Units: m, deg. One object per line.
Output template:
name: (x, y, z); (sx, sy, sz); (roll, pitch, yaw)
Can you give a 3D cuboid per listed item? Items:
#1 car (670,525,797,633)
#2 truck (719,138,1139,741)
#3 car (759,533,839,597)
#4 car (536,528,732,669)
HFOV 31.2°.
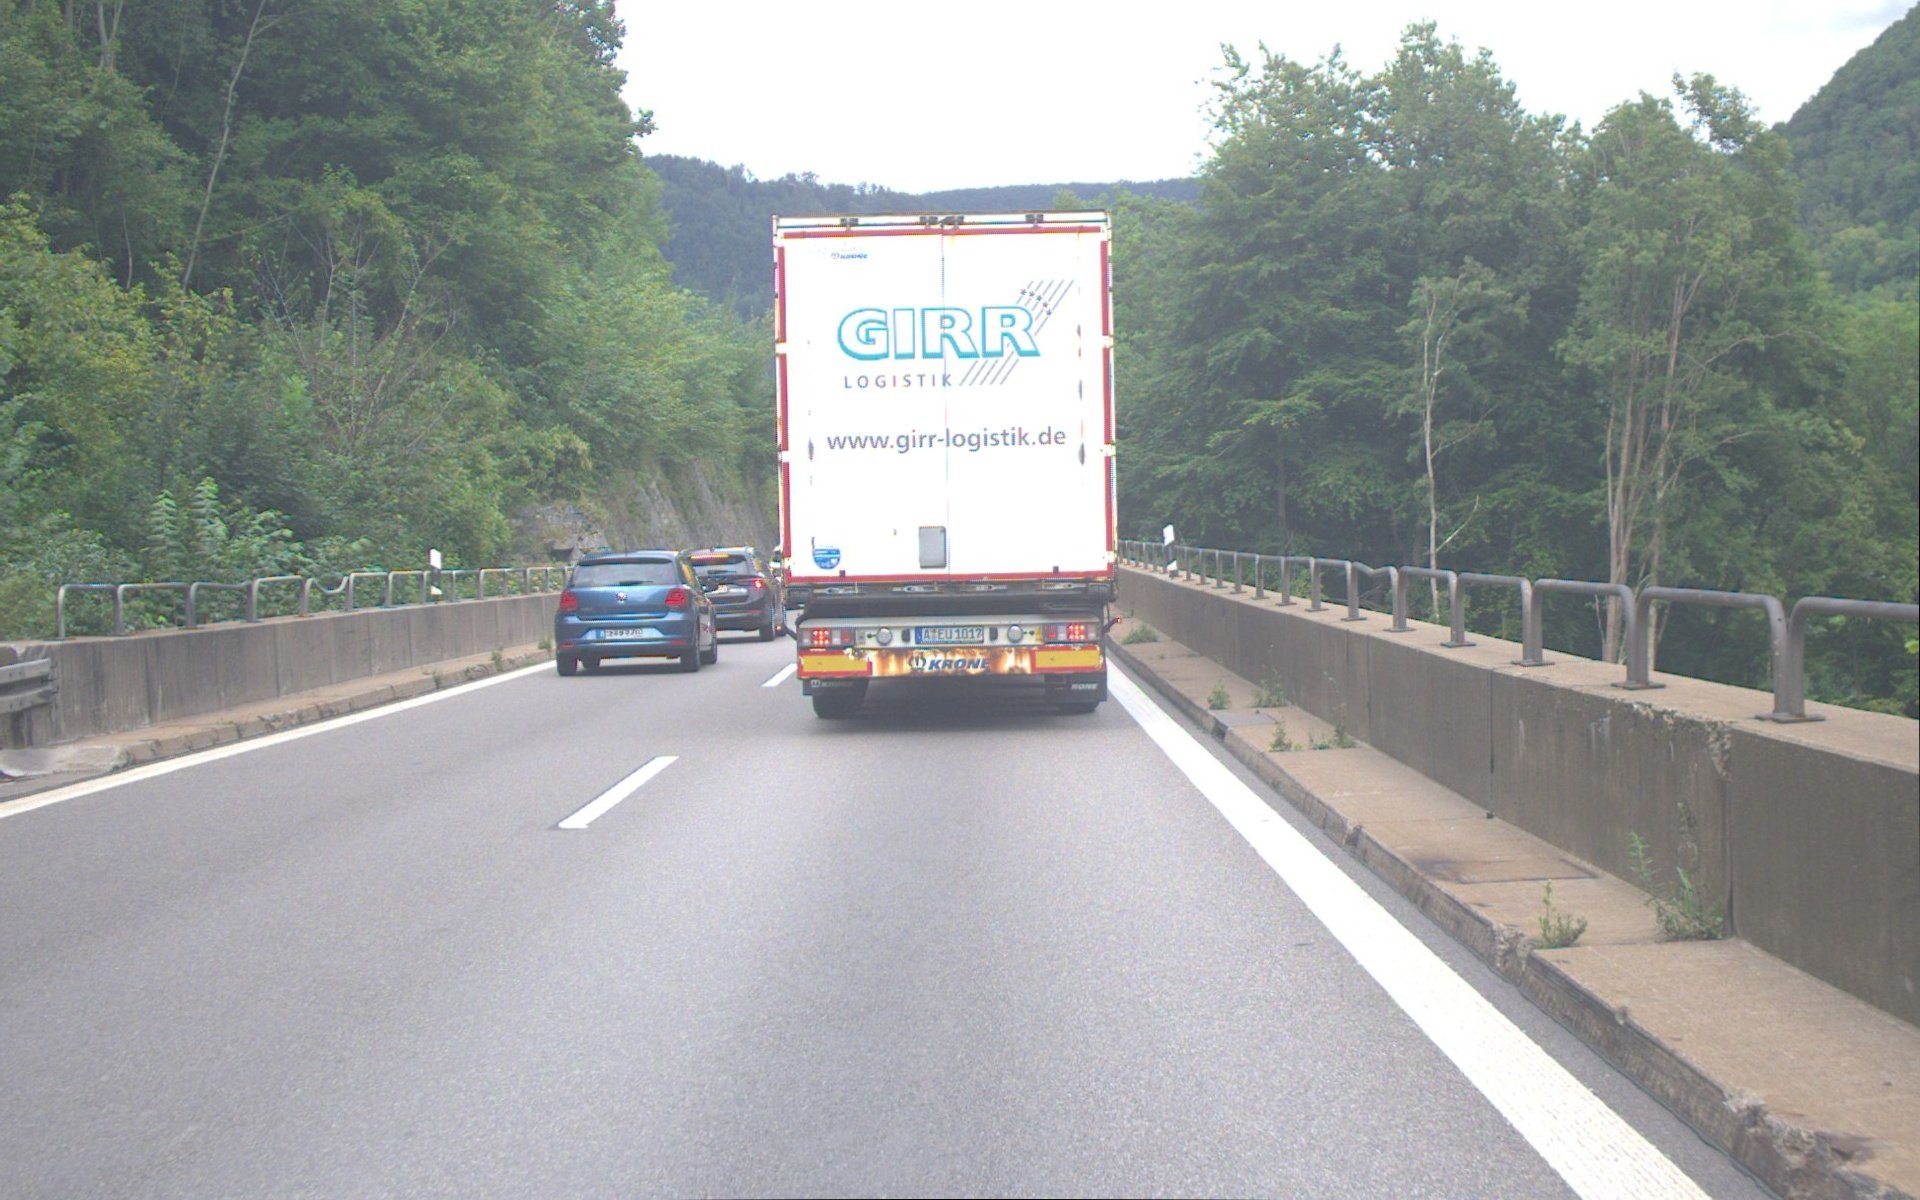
car: (-3.453, -0.353, 52.973); (1.745, 1.581, 4.000); (-1, 1, -1)
truck: (-0.103, -1.341, 33.121); (3.084, 4.448, 15.156); (0, 1, 1)
car: (-3.796, -0.849, 81.746); (1.745, 1.481, 4.000); (0, 1, -1)
car: (-3.857, -0.057, 41.324); (1.993, 1.590, 4.354); (0, 1, -1)
